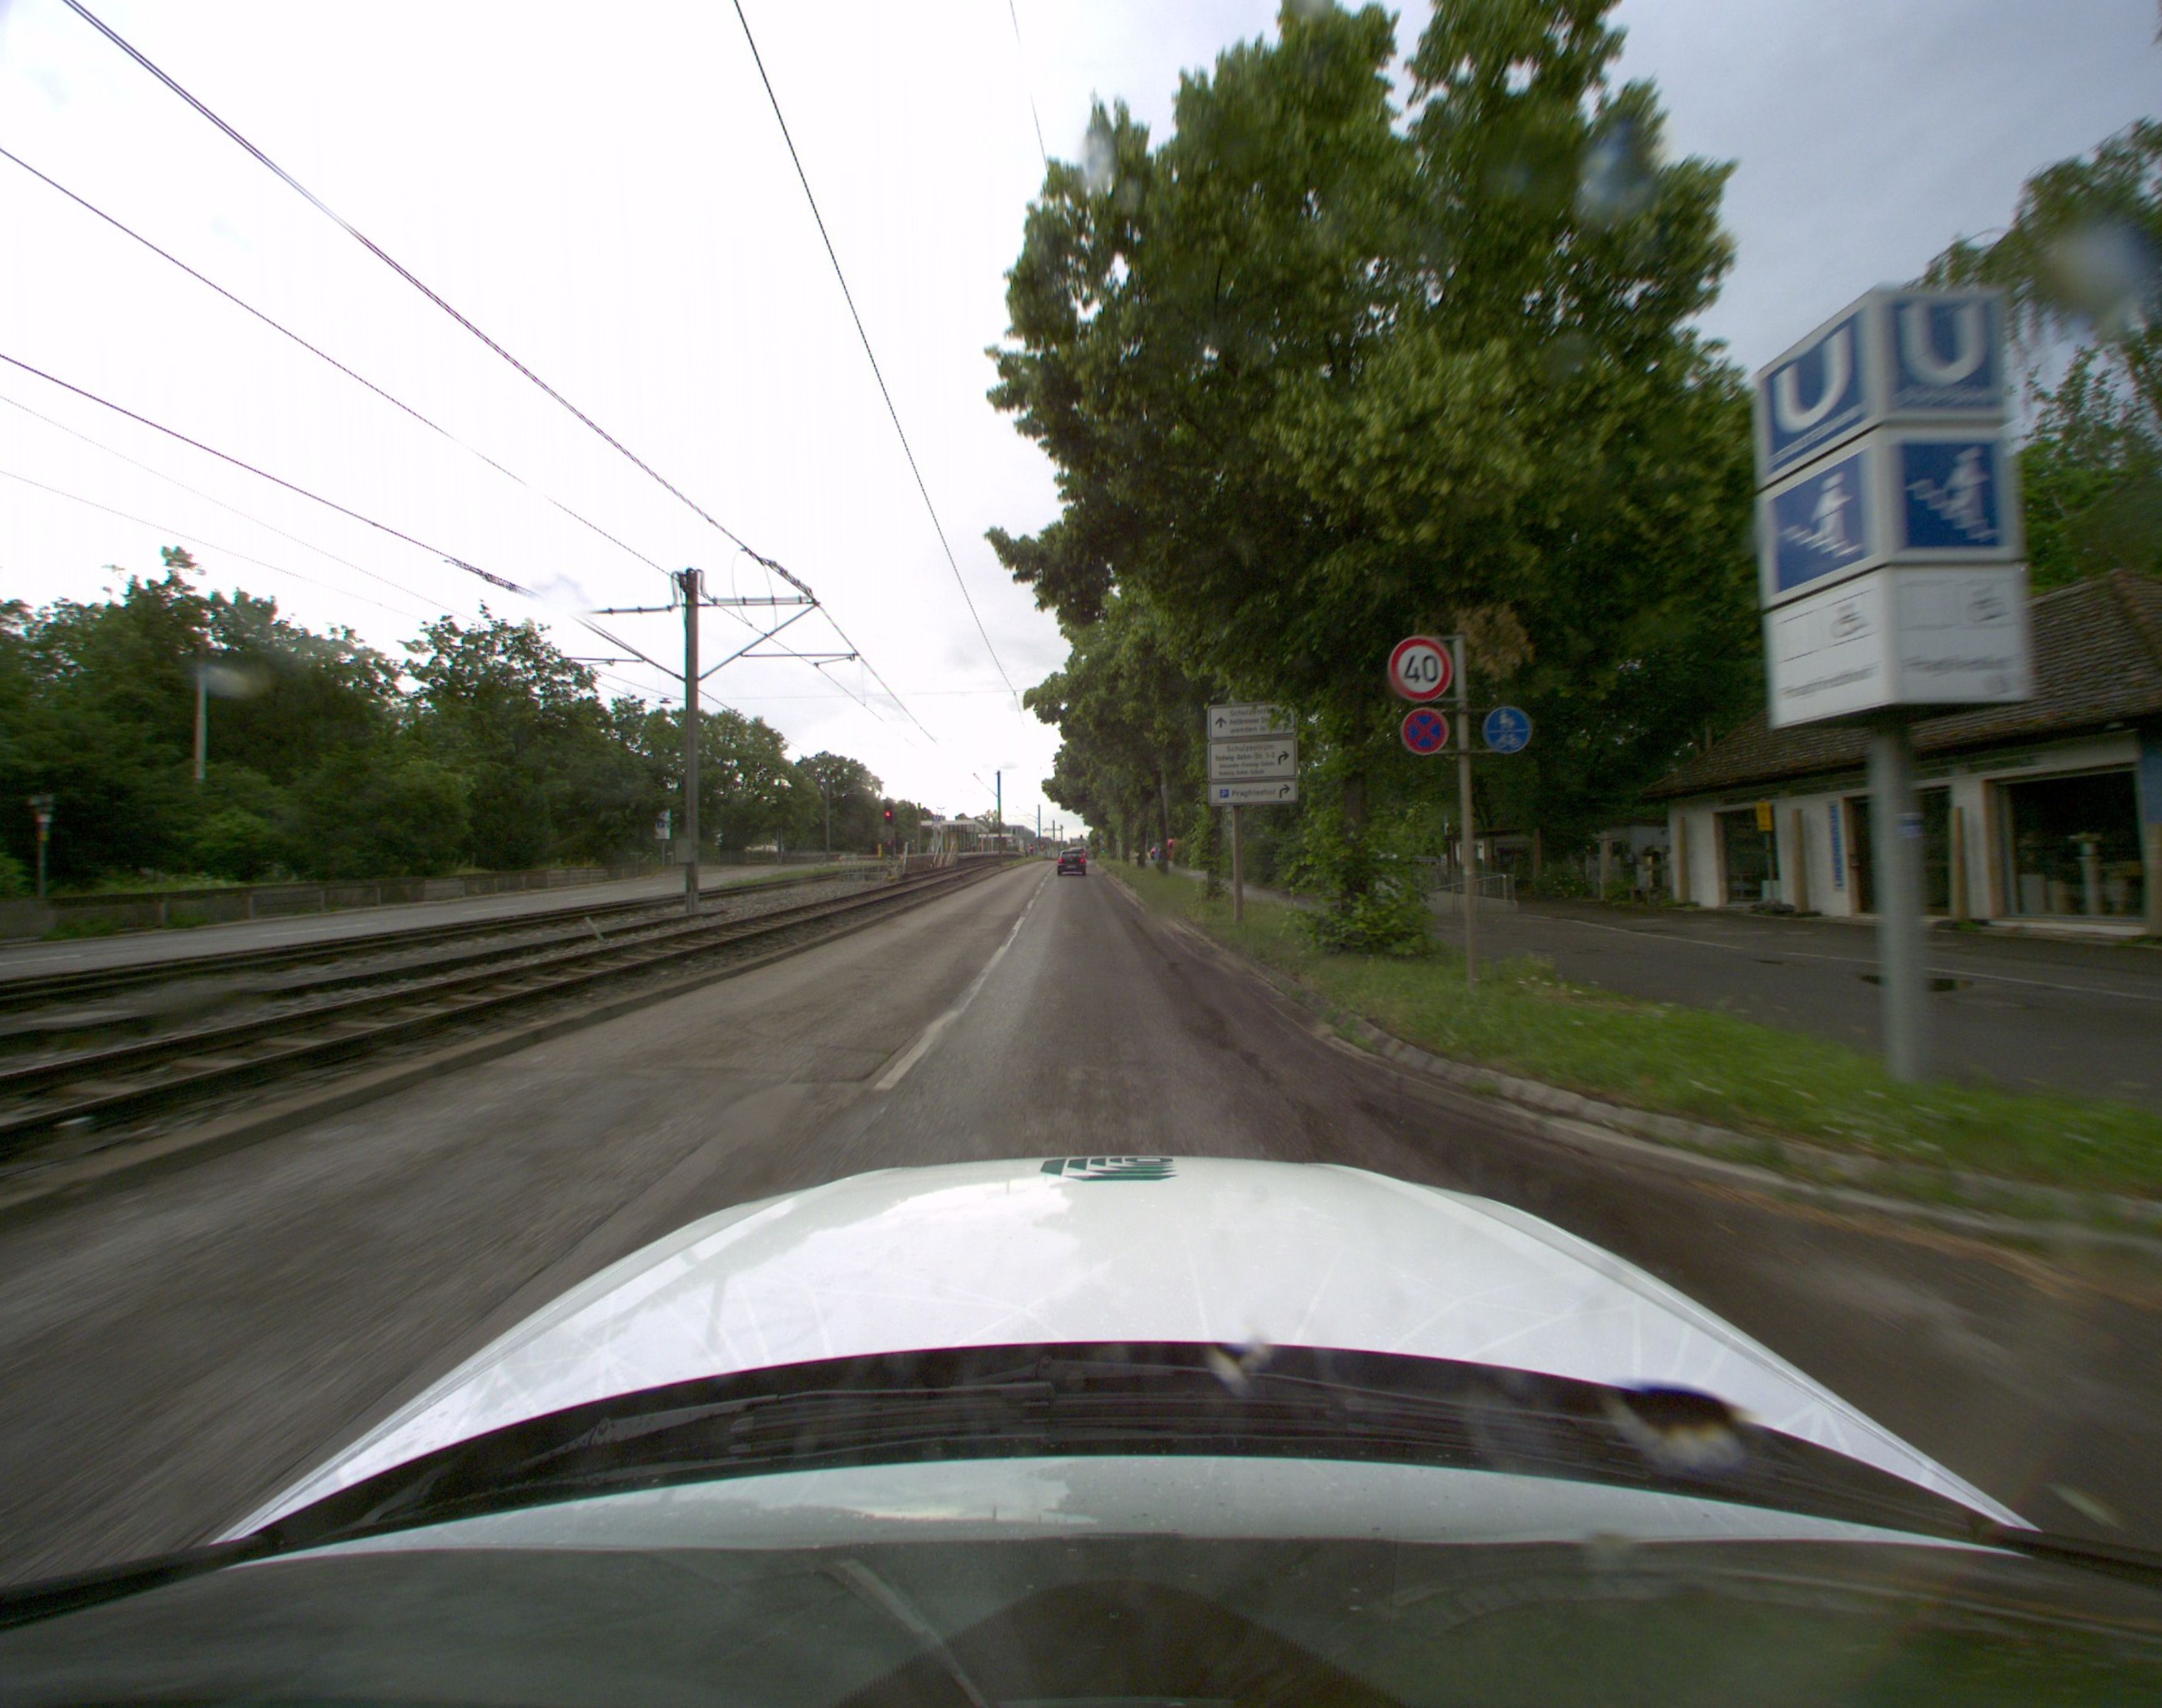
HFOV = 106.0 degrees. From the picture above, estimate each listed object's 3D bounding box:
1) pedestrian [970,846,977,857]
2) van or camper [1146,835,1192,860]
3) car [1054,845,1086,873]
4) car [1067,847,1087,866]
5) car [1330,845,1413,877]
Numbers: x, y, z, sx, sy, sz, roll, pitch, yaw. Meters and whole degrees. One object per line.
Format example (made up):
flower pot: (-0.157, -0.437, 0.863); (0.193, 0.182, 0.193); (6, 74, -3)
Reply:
pedestrian: (-11.897, -0.322, 89.883); (0.708, 1.225, 0.619); (0, 0, 0)
van or camper: (9.586, -0.686, 88.407); (2.016, 2.406, 5.423); (4, 1, 42)
car: (-0.587, 0.267, 47.547); (1.721, 1.540, 4.000); (-1, 1, 1)
car: (-0.358, 0.218, 70.380); (1.682, 1.517, 4.000); (-1, 1, 0)
car: (17.972, 0.399, 50.500); (1.956, 1.834, 4.416); (1, 1, -41)
